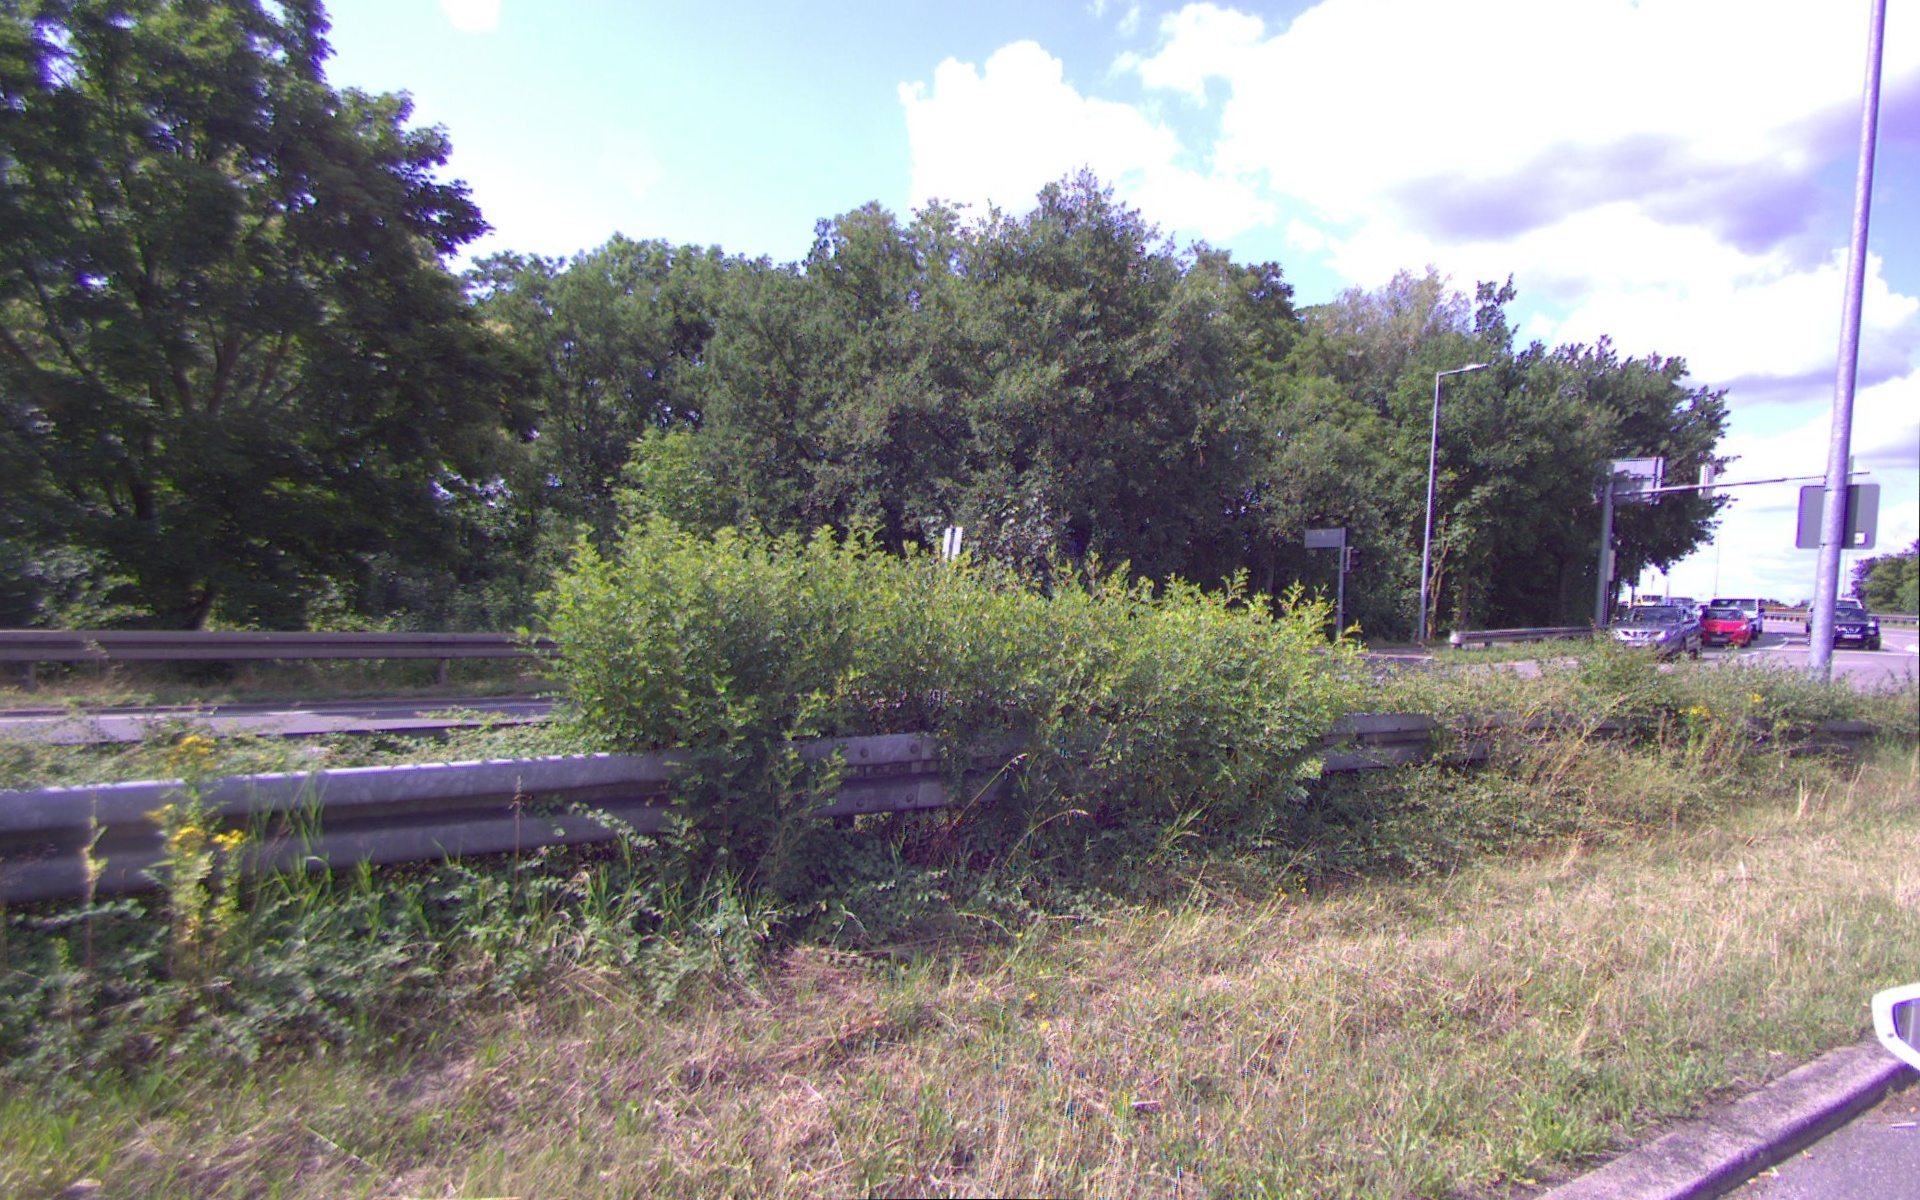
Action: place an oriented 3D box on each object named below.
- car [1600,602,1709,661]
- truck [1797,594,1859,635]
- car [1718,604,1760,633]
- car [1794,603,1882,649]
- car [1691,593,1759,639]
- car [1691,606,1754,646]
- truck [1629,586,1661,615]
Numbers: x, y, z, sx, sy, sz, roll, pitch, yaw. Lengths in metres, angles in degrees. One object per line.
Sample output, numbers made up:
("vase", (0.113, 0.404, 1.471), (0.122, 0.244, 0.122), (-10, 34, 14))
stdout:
("car", (20.312, 0.884, 29.321), (4.250, 1.607, 1.695), (1, -1, -42))
("truck", (44.355, 0.708, 51.418), (1.935, 1.939, 5.350), (2, 1, 36))
("car", (43.127, 0.989, 55.686), (1.710, 1.541, 4.053), (0, 0, 36))
("car", (33.273, 0.943, 38.166), (1.672, 1.578, 3.816), (1, 1, 28))
("car", (35.863, 0.750, 47.215), (1.965, 2.040, 5.124), (0, -1, 31))
("car", (29.606, 0.988, 38.974), (1.564, 1.451, 3.977), (1, 0, 43))
("truck", (64.504, 0.022, 94.538), (1.969, 2.656, 6.076), (0, 0, 39))
